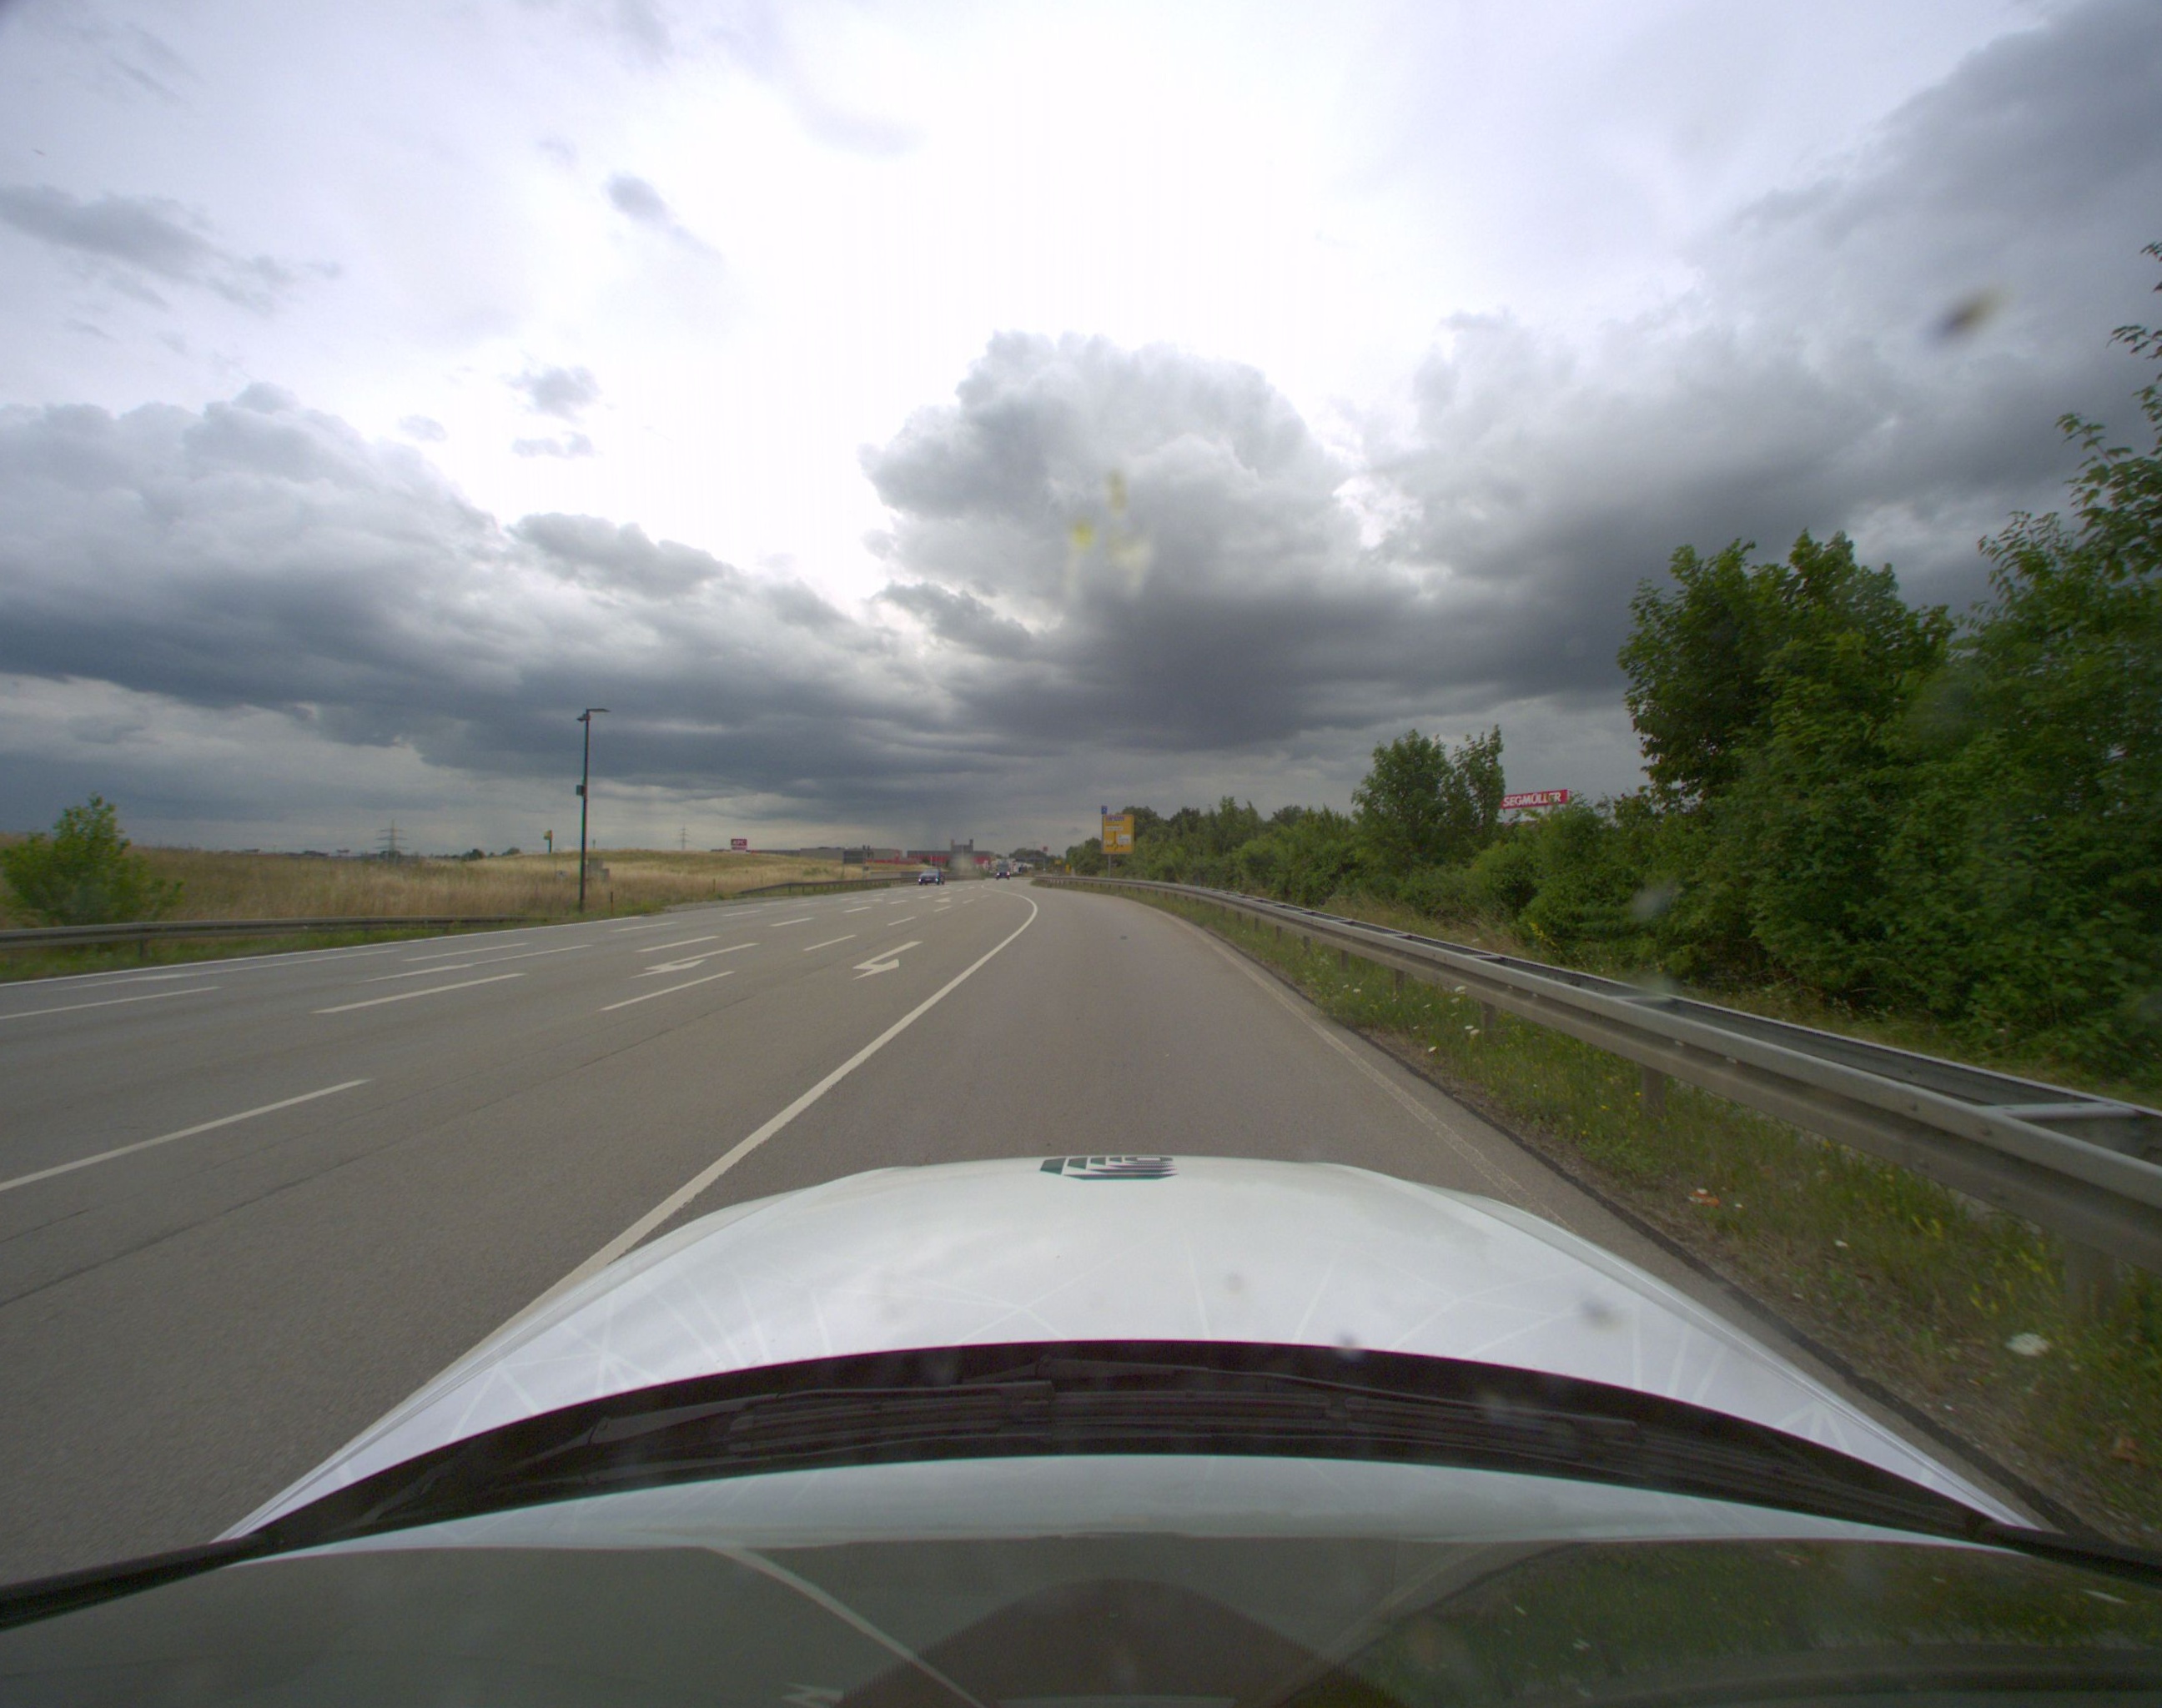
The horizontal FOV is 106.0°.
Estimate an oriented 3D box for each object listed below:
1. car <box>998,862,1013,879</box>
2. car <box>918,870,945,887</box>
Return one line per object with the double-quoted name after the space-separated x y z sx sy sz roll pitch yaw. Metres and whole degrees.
-11.834 2.603 128.058 1.988 2.592 5.999 0 -1 -2 "car"
-13.381 2.182 73.251 1.793 1.551 3.997 0 -1 -2 "car"
